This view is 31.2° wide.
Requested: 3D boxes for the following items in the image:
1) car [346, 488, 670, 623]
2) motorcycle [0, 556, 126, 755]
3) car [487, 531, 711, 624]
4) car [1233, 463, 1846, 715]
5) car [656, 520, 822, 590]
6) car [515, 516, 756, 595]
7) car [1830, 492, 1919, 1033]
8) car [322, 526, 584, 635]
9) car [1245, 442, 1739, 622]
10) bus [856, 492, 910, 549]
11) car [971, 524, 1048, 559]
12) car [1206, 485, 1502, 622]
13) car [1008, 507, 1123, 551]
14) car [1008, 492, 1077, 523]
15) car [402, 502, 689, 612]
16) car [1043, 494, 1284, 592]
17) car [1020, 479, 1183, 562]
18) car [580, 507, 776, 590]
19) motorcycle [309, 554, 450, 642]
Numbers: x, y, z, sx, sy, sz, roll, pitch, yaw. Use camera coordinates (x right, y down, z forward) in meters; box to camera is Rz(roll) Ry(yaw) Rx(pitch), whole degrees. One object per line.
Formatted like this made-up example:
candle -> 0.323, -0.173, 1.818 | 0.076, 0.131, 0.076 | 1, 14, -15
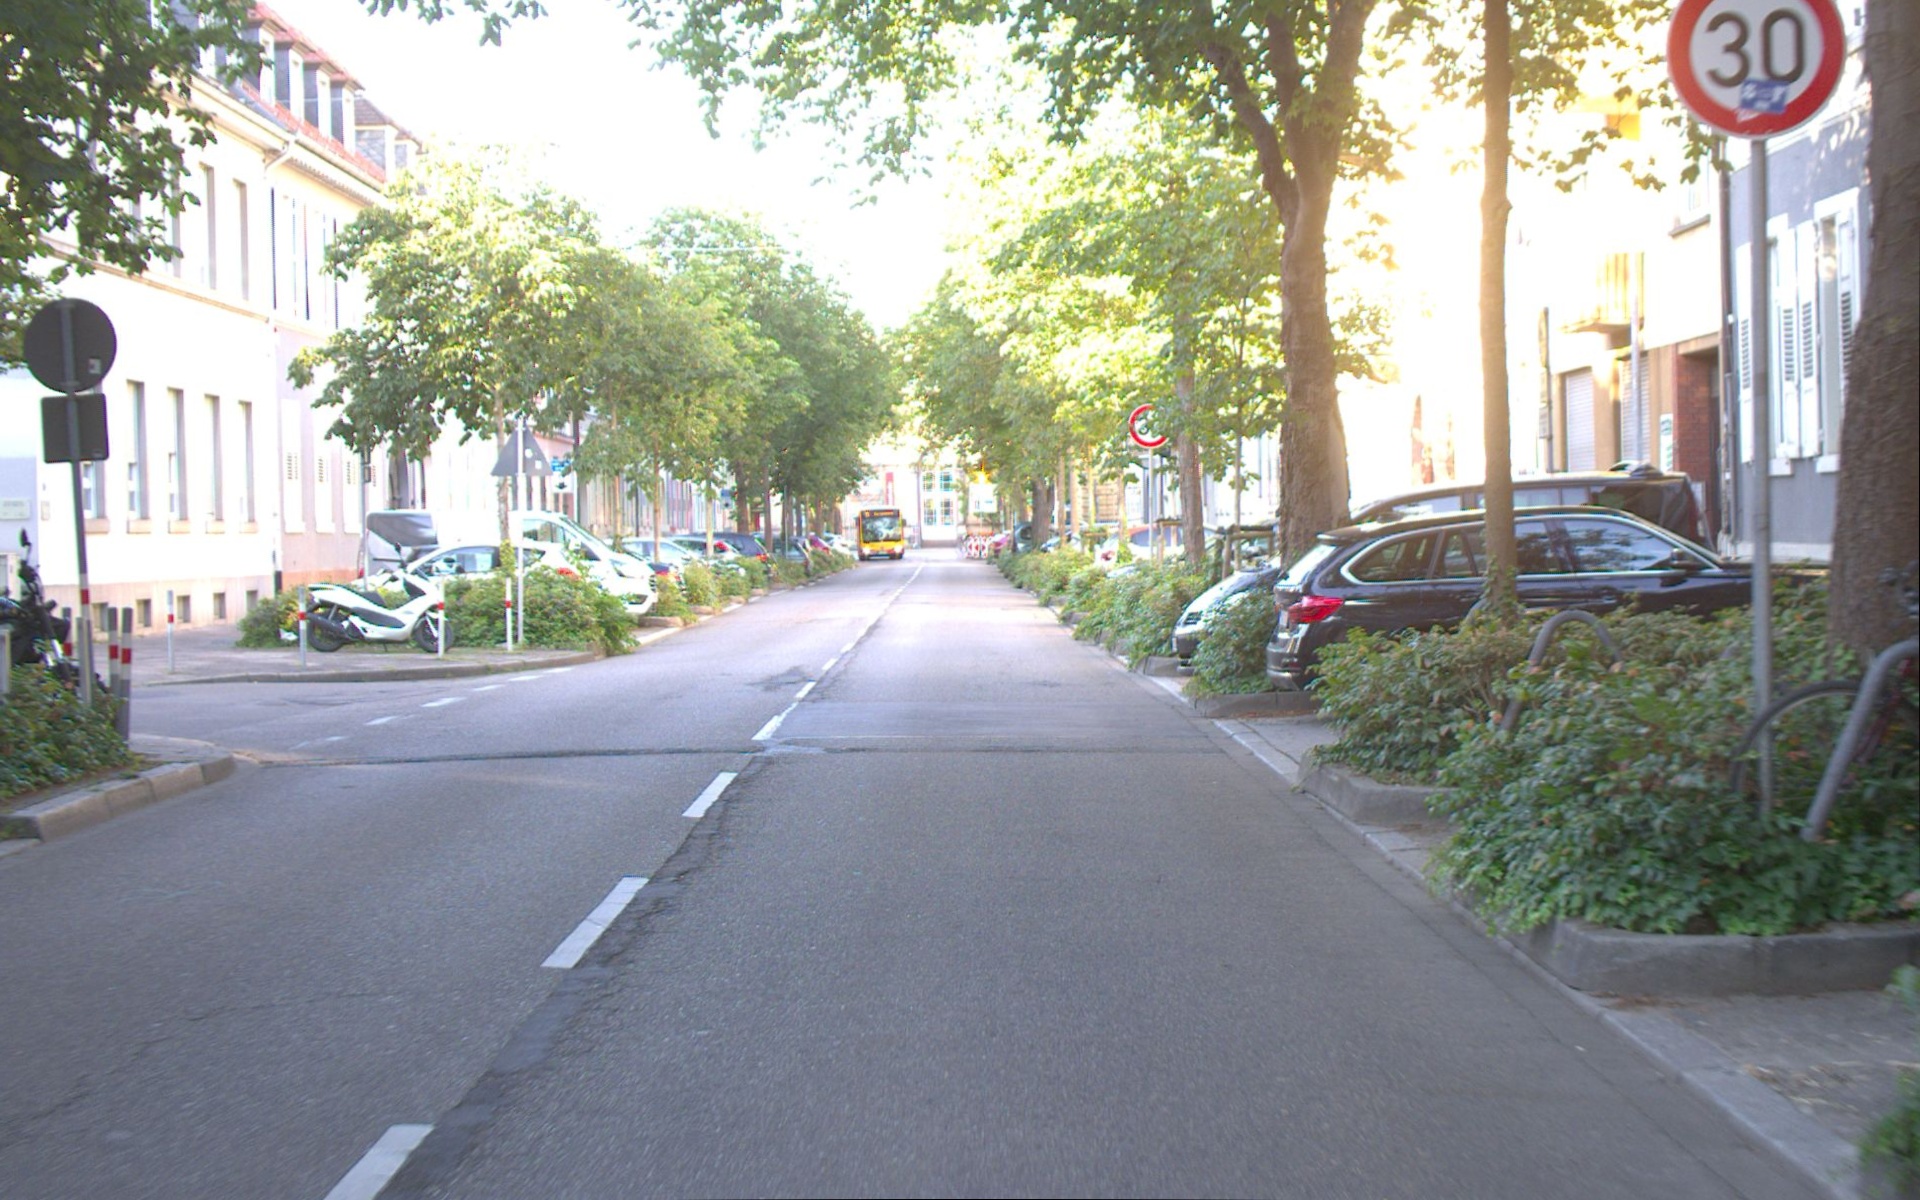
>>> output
car -> -7.489, -0.758, 57.431 | 5.064, 2.076, 2.263 | -2, 1, 0
motorcycle -> -6.439, 0.359, 22.244 | 1.919, 1.254, 0.591 | -1, 1, 0
car -> -8.700, -0.555, 83.116 | 5.064, 2.076, 2.263 | -2, 1, 2
car -> 4.066, -0.097, 24.562 | 4.014, 1.617, 1.781 | -2, 1, -1
car -> -7.025, -1.451, 109.786 | 5.064, 2.076, 2.263 | -2, 1, 1
car -> -7.282, -1.014, 77.497 | 5.064, 1.611, 2.263 | -2, 1, 3
car -> 4.605, 0.393, 9.291 | 4.014, 1.475, 1.781 | -1, 1, -1
car -> -7.640, -0.306, 52.046 | 3.725, 1.503, 1.873 | -2, 1, -3
car -> 4.616, -0.601, 30.233 | 4.014, 1.414, 1.781 | -2, 1, -1
bus -> -4.509, -4.635, 200.378 | 3.028, 3.179, 9.404 | -1, 1, -1
car -> 2.734, -3.213, 189.399 | 3.988, 1.831, 2.000 | -1, 1, 8
car -> 4.980, -0.602, 43.796 | 3.616, 1.621, 1.585 | -2, 1, 3
car -> 3.745, -2.542, 122.394 | 3.987, 1.437, 1.697 | -2, 1, -1
car -> 5.109, -5.702, 212.433 | 3.988, 1.765, 1.999 | -1, 2, 9
car -> -7.836, -0.839, 65.364 | 5.064, 1.817, 2.263 | -2, 4, 2
car -> 3.952, -1.128, 67.529 | 4.593, 1.755, 2.222 | -2, 1, 1
car -> 3.558, -1.988, 86.169 | 3.987, 2.007, 2.000 | -1, 1, 3
car -> -7.662, -1.415, 93.753 | 5.064, 2.076, 2.263 | -2, 1, 1
motorcycle -> -7.234, -0.023, 42.852 | 1.636, 1.064, 0.656 | -1, 1, 0
